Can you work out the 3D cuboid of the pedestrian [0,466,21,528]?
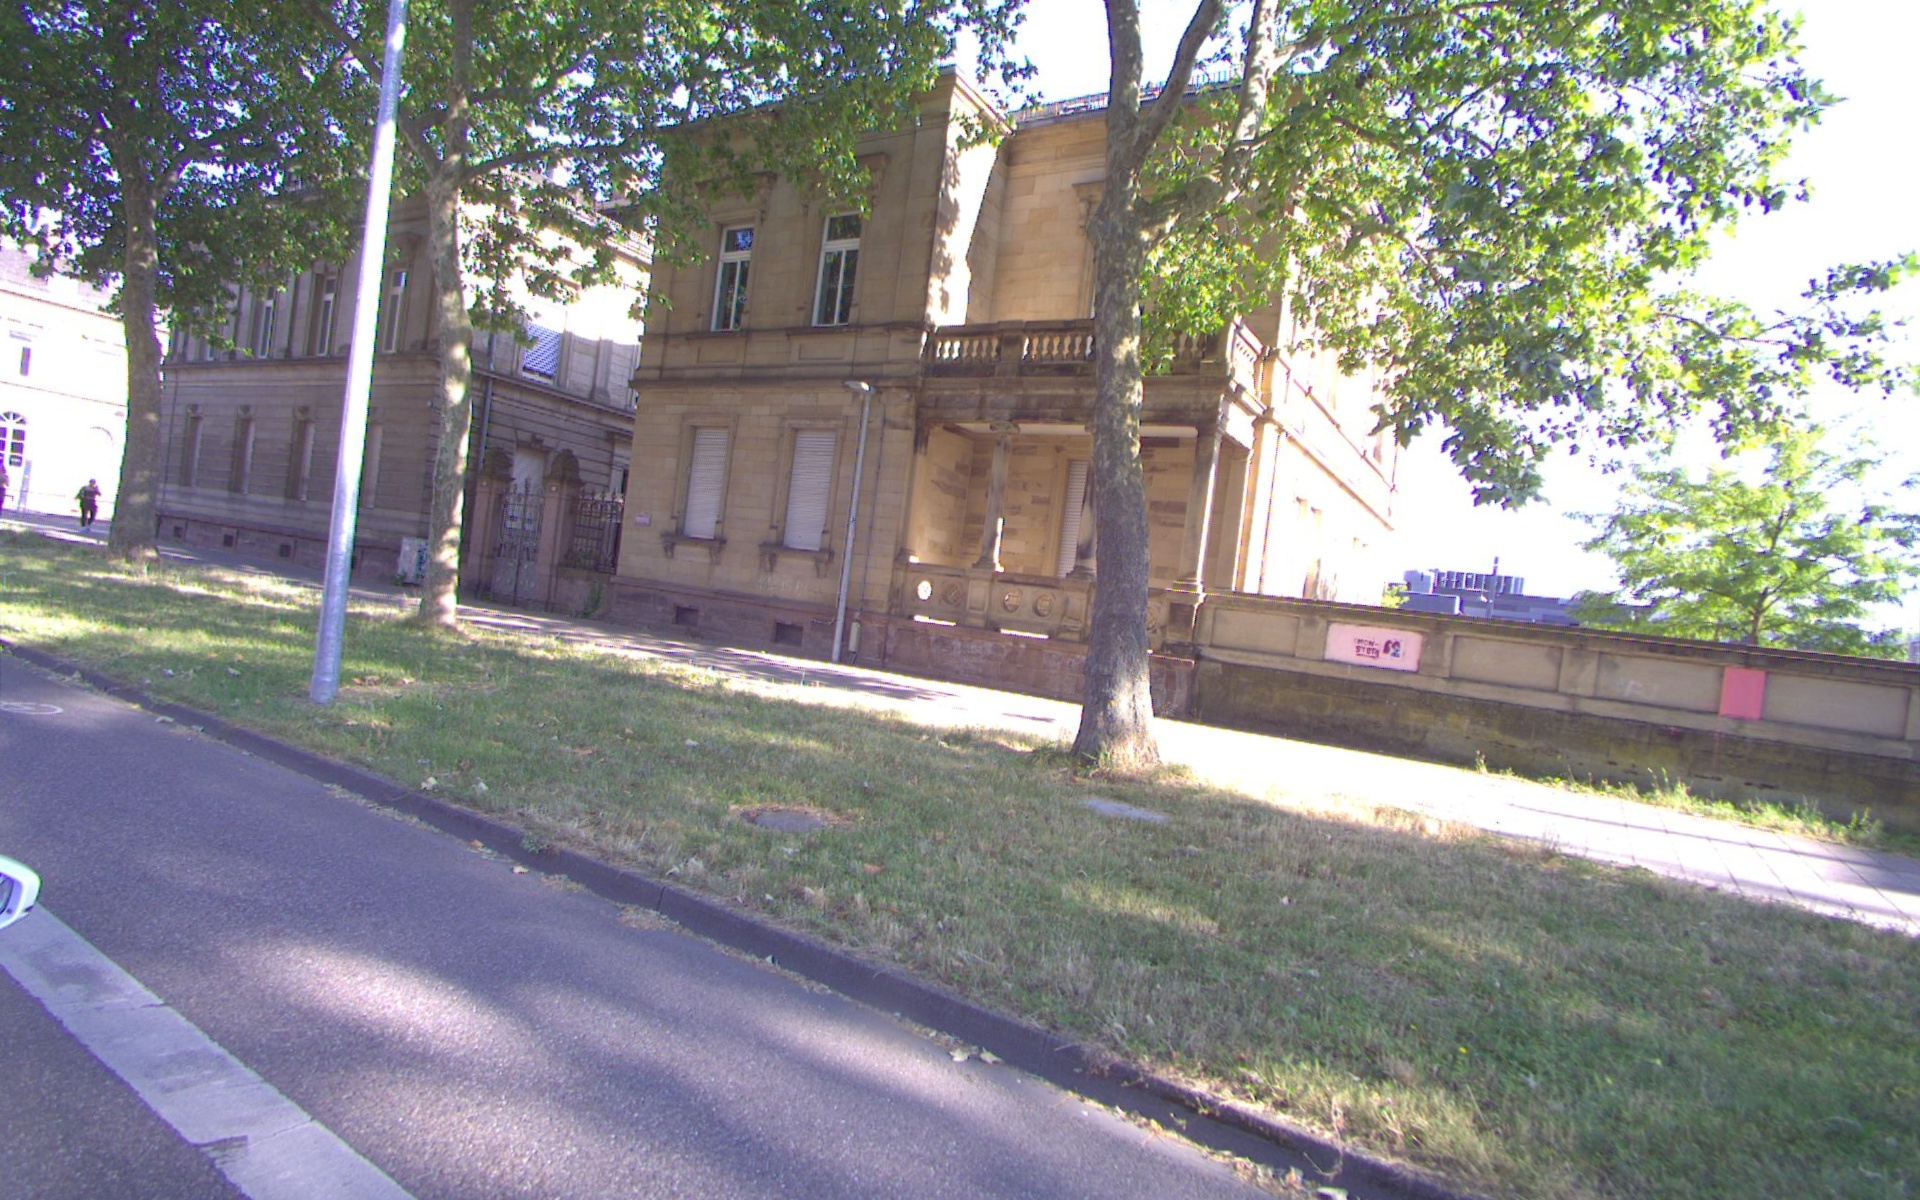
[{"bbox_3d":[-28.059,-3.051,29.265,1.025,1.731,0.770,7,1,33],"label":"pedestrian"}]

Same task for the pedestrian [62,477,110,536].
[{"bbox_3d":[-26.790,-2.863,30.835,0.970,1.626,0.770,7,1,33],"label":"pedestrian"}]
